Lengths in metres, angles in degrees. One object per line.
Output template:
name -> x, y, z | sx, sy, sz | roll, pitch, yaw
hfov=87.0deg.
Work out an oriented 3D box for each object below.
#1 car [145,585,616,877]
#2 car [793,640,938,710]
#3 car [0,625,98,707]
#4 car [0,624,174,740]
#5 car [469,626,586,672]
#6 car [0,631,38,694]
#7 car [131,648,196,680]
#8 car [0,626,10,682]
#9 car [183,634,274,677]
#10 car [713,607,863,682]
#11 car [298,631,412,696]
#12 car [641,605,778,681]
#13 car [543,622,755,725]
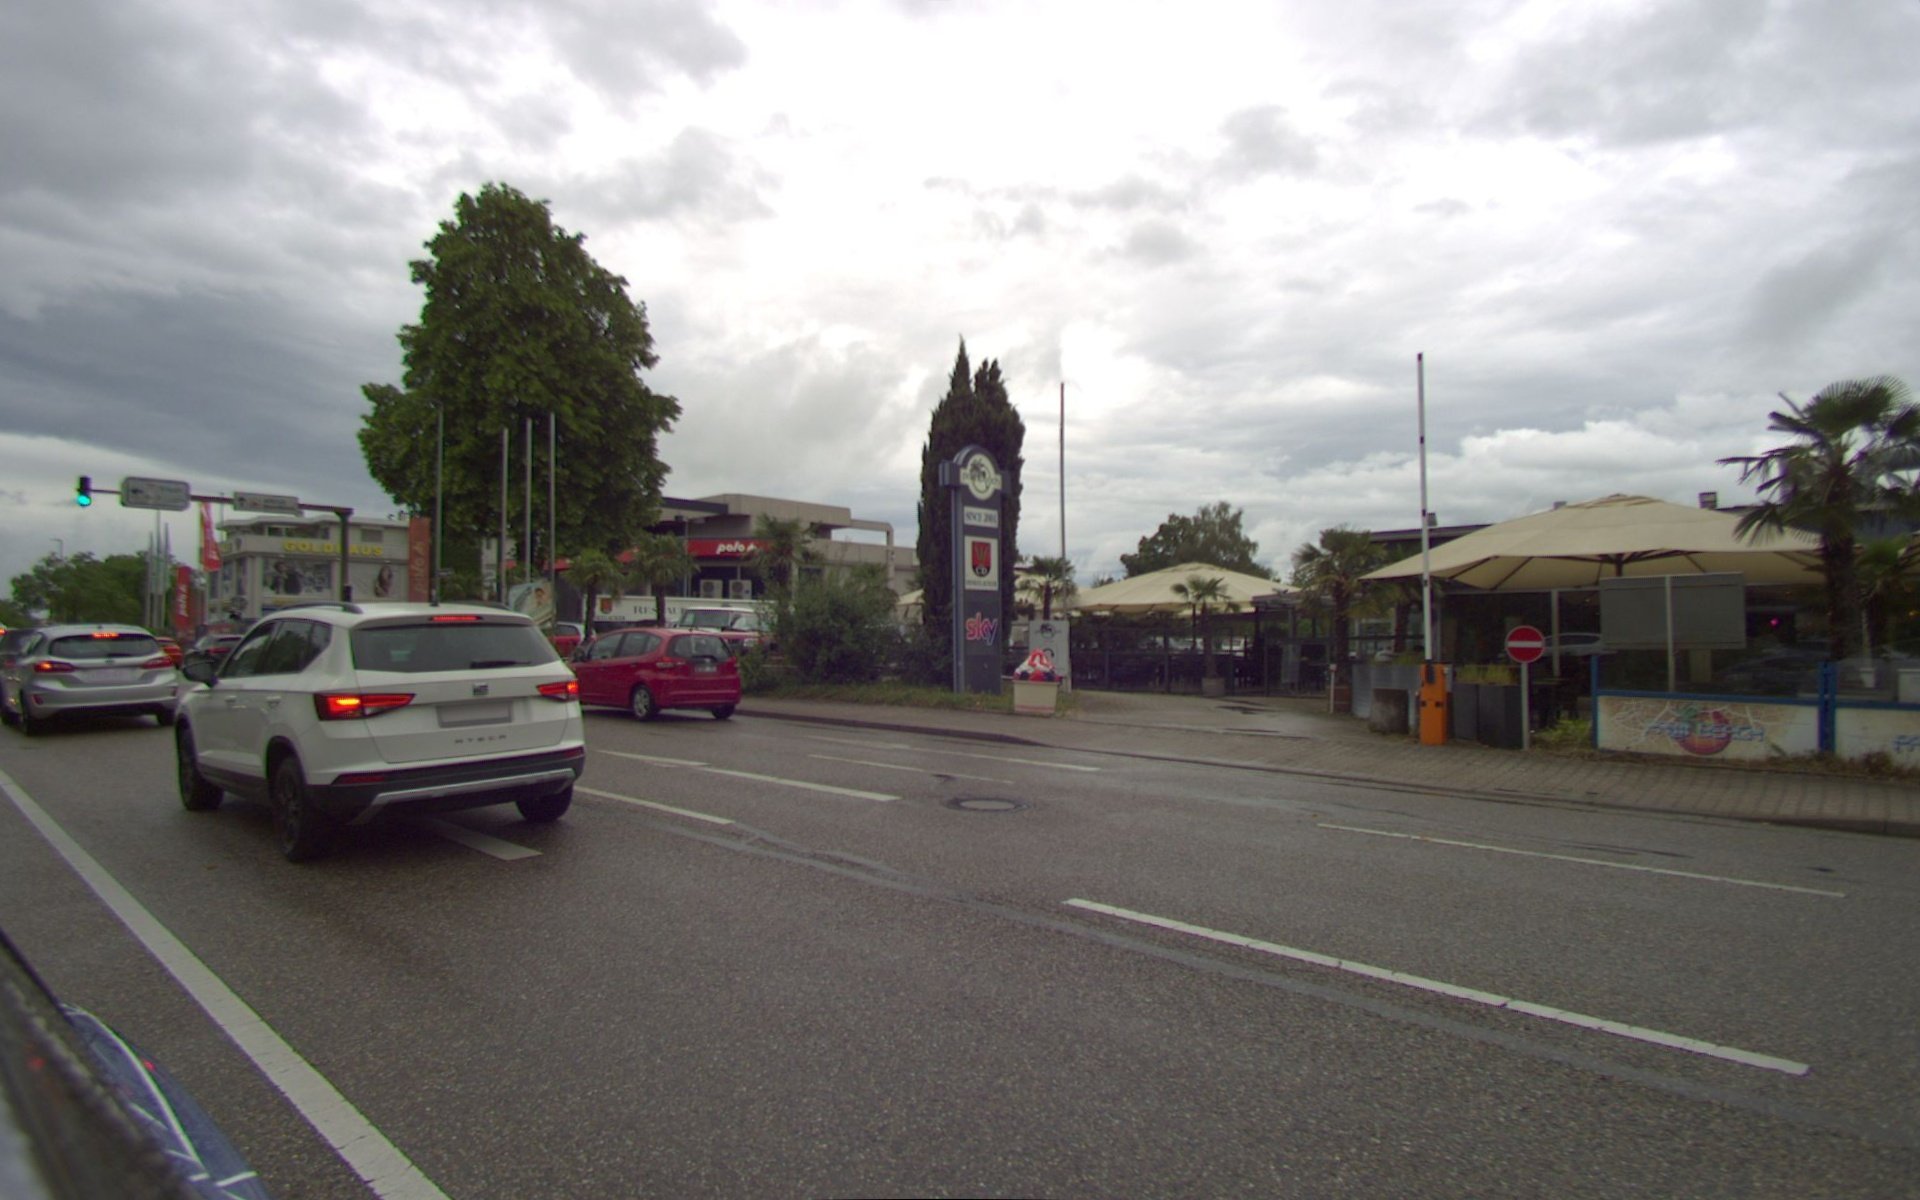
car -> -4.515, 0.763, 7.602 | 4.237, 1.593, 1.768 | -1, -2, 41
car -> -2.224, 1.844, 25.116 | 1.984, 1.475, 4.341 | 2, -3, 18
car -> -18.133, 1.257, 19.702 | 3.948, 1.452, 1.584 | -3, -2, 42
car -> -12.882, 1.086, 14.781 | 3.948, 1.452, 1.584 | -1, -1, 43
car -> -14.916, 1.694, 35.073 | 3.556, 1.515, 1.670 | 1, -2, -18
car -> -24.016, 1.506, 24.875 | 4.144, 1.445, 1.614 | -1, -2, 43
car -> -34.929, 2.783, 44.355 | 3.945, 1.342, 1.605 | -3, -5, 43
car -> -30.259, 1.652, 30.655 | 4.296, 1.662, 1.819 | -3, -4, 42
car -> -25.582, 1.962, 35.338 | 4.403, 1.410, 1.585 | -3, -5, 41
car -> -4.426, 1.229, 27.019 | 1.982, 1.715, 4.988 | 2, -3, 15
car -> -15.067, 1.516, 25.115 | 1.617, 1.489, 4.049 | 2, -3, -42
car -> -7.120, 1.298, 29.295 | 1.981, 2.029, 4.378 | -1, -4, 15
car -> -5.368, 1.189, 17.221 | 3.971, 1.545, 1.619 | -2, -4, 43
